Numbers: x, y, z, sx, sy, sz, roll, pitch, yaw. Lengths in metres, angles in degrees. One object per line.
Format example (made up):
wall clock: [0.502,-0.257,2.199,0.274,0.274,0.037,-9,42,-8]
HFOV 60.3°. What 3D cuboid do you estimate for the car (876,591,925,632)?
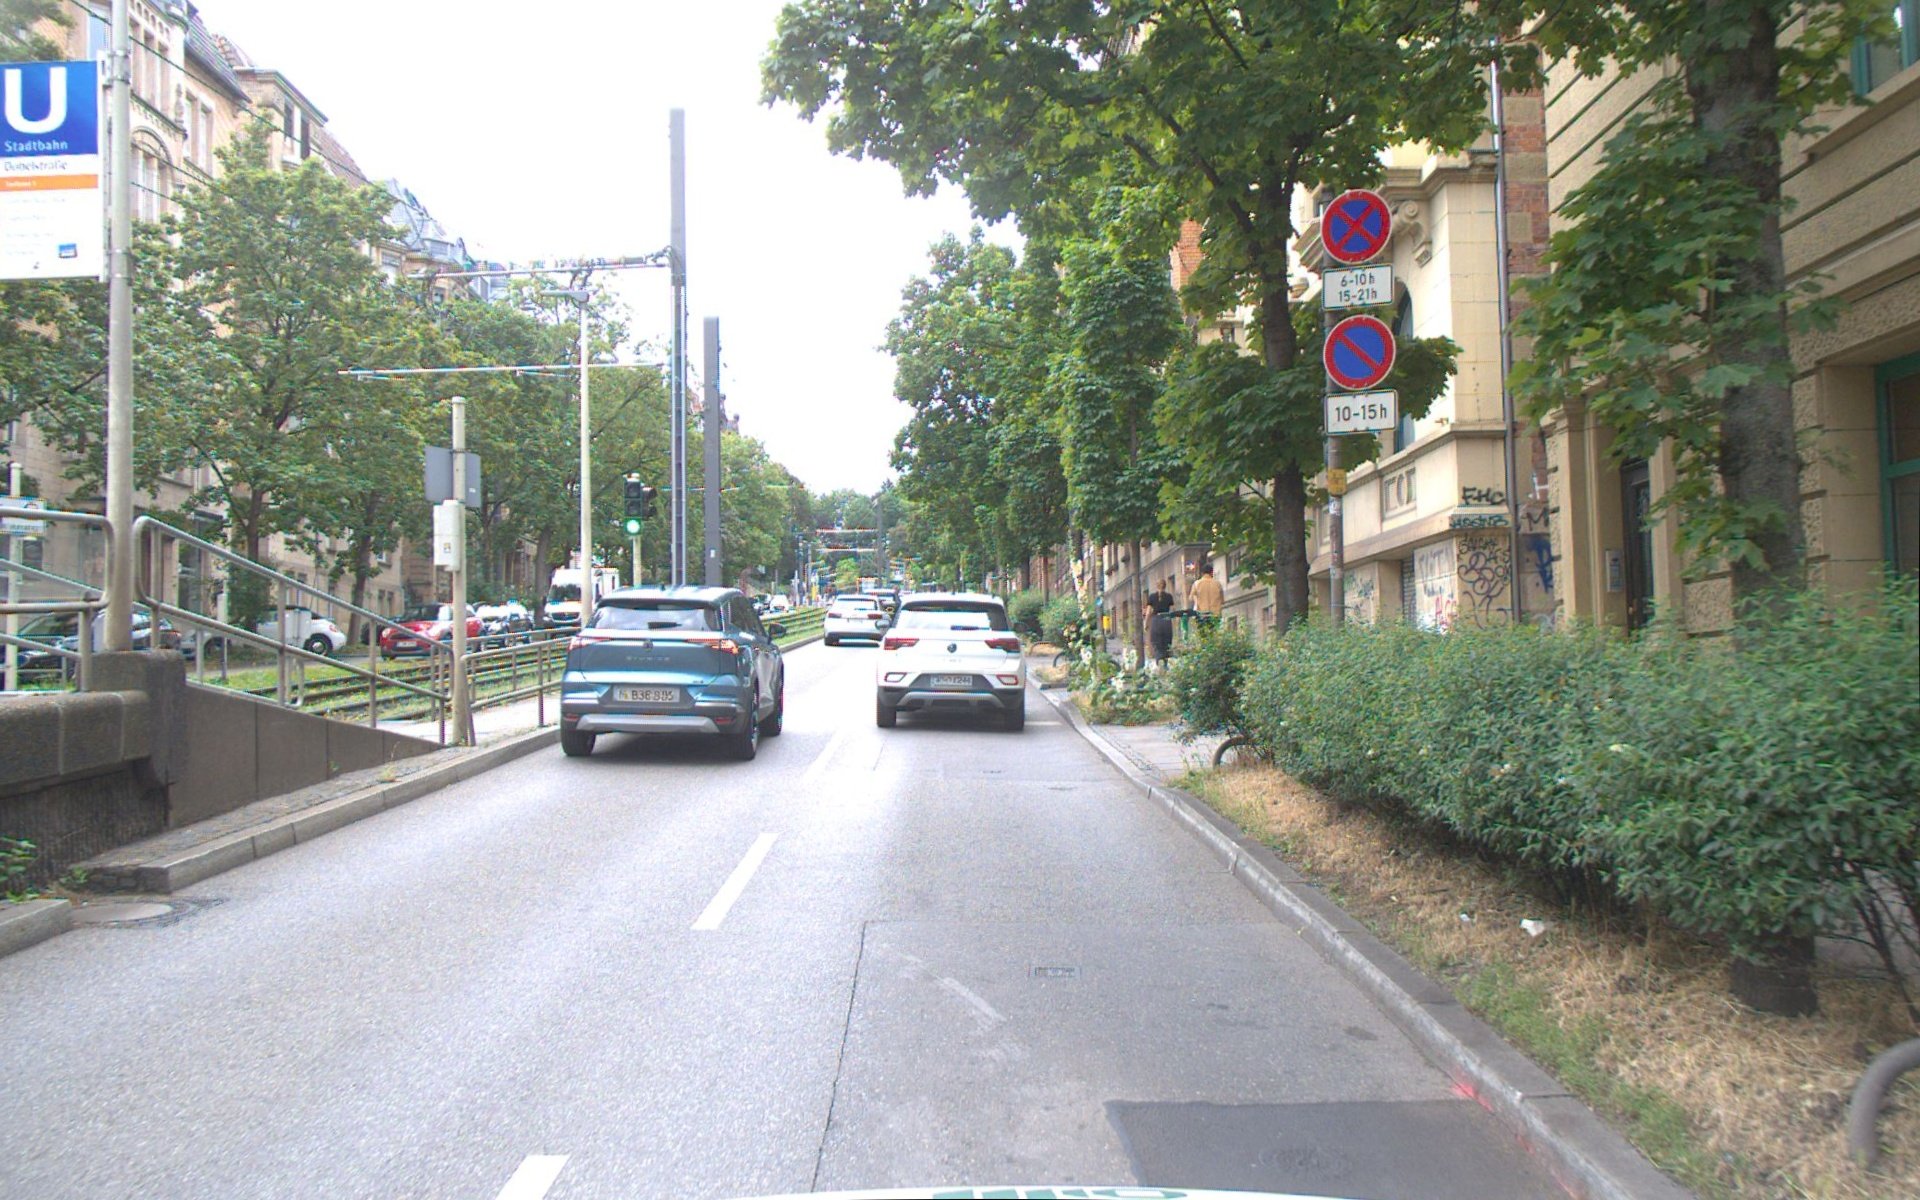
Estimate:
car: [-2.355,0.463,66.310,1.798,1.573,4.193,1,0,0]

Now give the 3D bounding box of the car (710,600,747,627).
car: [-14.797,0.854,105.964,1.744,1.645,4.345,-2,0,-1]

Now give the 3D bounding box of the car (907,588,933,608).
car: [-3.181,-0.142,130.095,2.026,1.573,4.192,1,0,-2]

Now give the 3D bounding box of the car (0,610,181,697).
car: [-16.696,0.968,31.550,1.644,1.473,4.218,-2,0,0]

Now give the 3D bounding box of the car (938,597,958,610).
car: [-1.462,0.437,195.758,2.027,1.573,4.189,1,0,-4]

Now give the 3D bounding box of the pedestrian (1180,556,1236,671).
pedestrian: [4.154,0.225,27.767,0.672,1.861,1.121,-2,-1,-1]

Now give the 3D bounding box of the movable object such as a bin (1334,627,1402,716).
movable object such as a bin: [4.541,0.793,18.439,0.599,0.935,0.493,-3,0,2]

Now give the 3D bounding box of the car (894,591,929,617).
car: [-3.034,0.242,102.601,2.027,1.573,4.190,1,0,-4]

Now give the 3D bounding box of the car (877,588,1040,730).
car: [-0.073,0.668,20.588,1.798,1.573,4.192,1,0,-2]

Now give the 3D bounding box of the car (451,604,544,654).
car: [-14.819,0.890,53.237,1.713,1.453,4.747,-2,0,-1]

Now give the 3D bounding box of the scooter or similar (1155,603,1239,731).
scooter or similar: [2.606,0.721,18.319,0.648,1.327,1.383,-3,0,-1]

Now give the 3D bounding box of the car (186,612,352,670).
car: [-18.784,1.079,44.990,3.949,1.447,1.766,-1,0,-33]

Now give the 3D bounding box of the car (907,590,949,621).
car: [-1.719,0.288,87.508,2.027,1.573,4.190,1,0,-4]

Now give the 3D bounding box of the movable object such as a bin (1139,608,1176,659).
movable object such as a bin: [4.261,0.719,35.722,0.657,1.033,0.582,-3,2,-3]

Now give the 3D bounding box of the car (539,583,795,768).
car: [-2.739,0.664,16.401,1.798,1.573,4.193,1,0,0]

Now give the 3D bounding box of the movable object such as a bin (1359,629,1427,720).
movable object such as a bin: [4.671,0.798,17.851,0.497,0.935,0.485,-3,0,-42]

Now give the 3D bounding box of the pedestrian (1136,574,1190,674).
pedestrian: [3.380,0.390,27.669,0.672,1.601,1.216,-2,0,-1]

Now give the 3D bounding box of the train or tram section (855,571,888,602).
train or tram section: [-10.266,-1.497,193.181,2.934,3.407,13.438,-1,0,0]

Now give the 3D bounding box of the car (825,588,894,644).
car: [-2.917,0.467,48.852,1.798,1.573,4.193,1,0,0]

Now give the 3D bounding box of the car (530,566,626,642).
car: [-15.057,0.146,65.646,2.344,2.746,6.516,-3,0,-2]

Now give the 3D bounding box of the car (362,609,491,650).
car: [-19.050,1.031,59.111,4.127,1.388,1.695,-1,0,-31]

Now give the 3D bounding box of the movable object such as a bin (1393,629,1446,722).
movable object such as a bin: [4.780,0.784,17.198,0.489,0.935,0.444,-1,0,19]

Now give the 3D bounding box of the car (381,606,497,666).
car: [-13.286,0.896,42.360,1.543,1.401,3.657,-1,0,4]
